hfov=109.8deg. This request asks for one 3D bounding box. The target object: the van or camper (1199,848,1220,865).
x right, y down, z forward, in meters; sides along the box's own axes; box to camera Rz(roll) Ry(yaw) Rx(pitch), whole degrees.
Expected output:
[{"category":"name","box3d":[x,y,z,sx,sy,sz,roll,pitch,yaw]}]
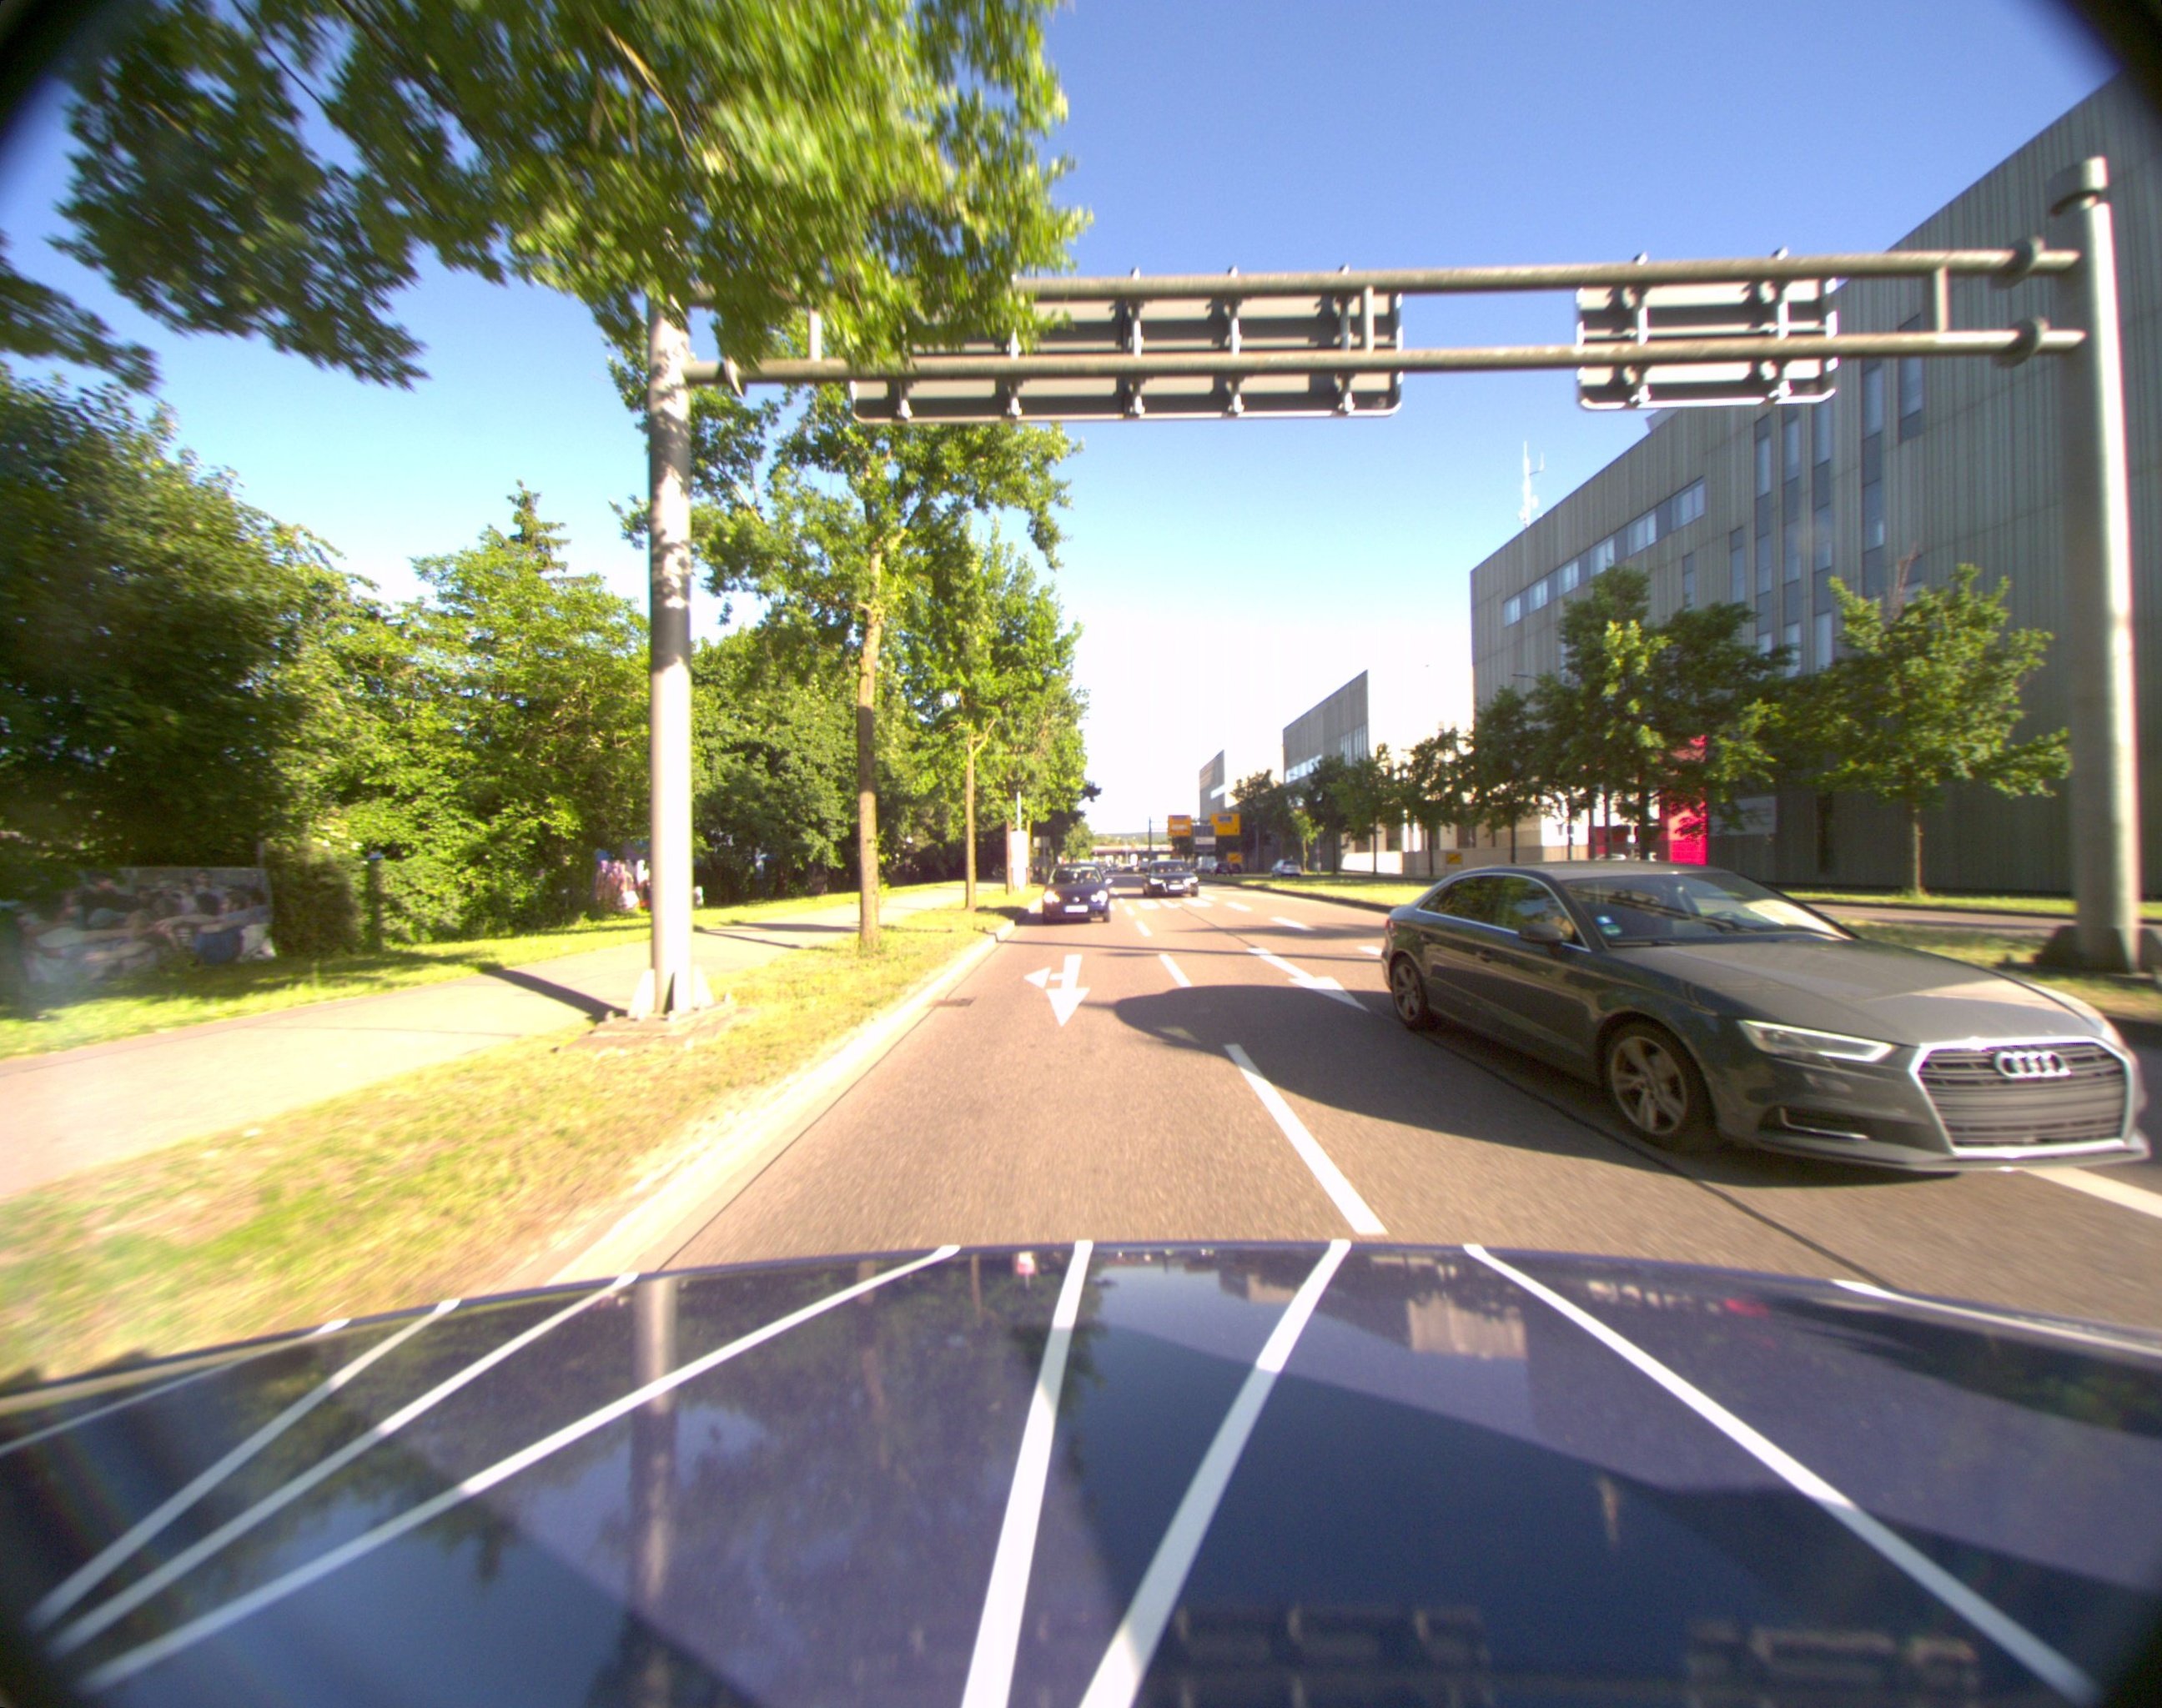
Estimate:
[{"category":"van or camper","box3d":[18.340,0.436,108.572,1.998,2.354,5.994,0,-1,0]}]

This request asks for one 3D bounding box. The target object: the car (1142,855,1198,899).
[{"category":"car","box3d":[3.414,0.871,29.736,1.702,1.528,3.947,-2,-1,1]}]

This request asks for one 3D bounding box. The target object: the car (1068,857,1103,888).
[{"category":"car","box3d":[0.250,0.910,39.019,1.702,1.478,3.947,-1,0,1]}]

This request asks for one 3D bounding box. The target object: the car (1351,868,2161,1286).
[{"category":"car","box3d":[3.496,0.852,4.973,1.702,1.396,4.364,-3,0,-2]}]

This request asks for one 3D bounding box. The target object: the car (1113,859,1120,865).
[{"category":"car","box3d":[10.240,2.397,218.894,1.828,1.672,4.659,1,0,1]}]

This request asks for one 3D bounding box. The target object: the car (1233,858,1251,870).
[{"category":"car","box3d":[22.227,1.384,105.032,1.554,1.499,4.027,-1,-1,0]}]

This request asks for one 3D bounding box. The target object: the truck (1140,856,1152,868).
[{"category":"truck","box3d":[17.072,2.038,199.032,2.692,2.943,7.115,1,-1,2]}]

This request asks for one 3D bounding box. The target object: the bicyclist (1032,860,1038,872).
[{"category":"bicyclist","box3d":[-5.865,1.494,97.172,0.686,1.513,1.036,-1,0,-2]}]

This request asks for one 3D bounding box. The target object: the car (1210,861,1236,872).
[{"category":"car","box3d":[14.494,1.251,77.682,1.832,1.105,4.174,-1,0,-1]}]

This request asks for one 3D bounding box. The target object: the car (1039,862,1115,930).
[{"category":"car","box3d":[-0.069,0.994,19.555,1.702,1.474,4.052,-2,0,1]}]

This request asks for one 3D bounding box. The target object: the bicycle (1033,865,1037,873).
[{"category":"bicycle","box3d":[-5.877,1.929,97.173,0.517,1.066,1.936,-1,0,-2]}]

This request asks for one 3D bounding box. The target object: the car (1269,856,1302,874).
[{"category":"car","box3d":[17.794,0.940,66.242,1.693,1.467,4.049,-1,0,-1]}]

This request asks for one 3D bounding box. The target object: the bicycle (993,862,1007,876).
[{"category":"bicycle","box3d":[-6.584,1.198,61.838,0.775,1.124,1.710,-1,0,9]}]

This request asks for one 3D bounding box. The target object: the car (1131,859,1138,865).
[{"category":"car","box3d":[15.386,2.447,219.760,1.828,1.672,4.659,1,0,1]}]
